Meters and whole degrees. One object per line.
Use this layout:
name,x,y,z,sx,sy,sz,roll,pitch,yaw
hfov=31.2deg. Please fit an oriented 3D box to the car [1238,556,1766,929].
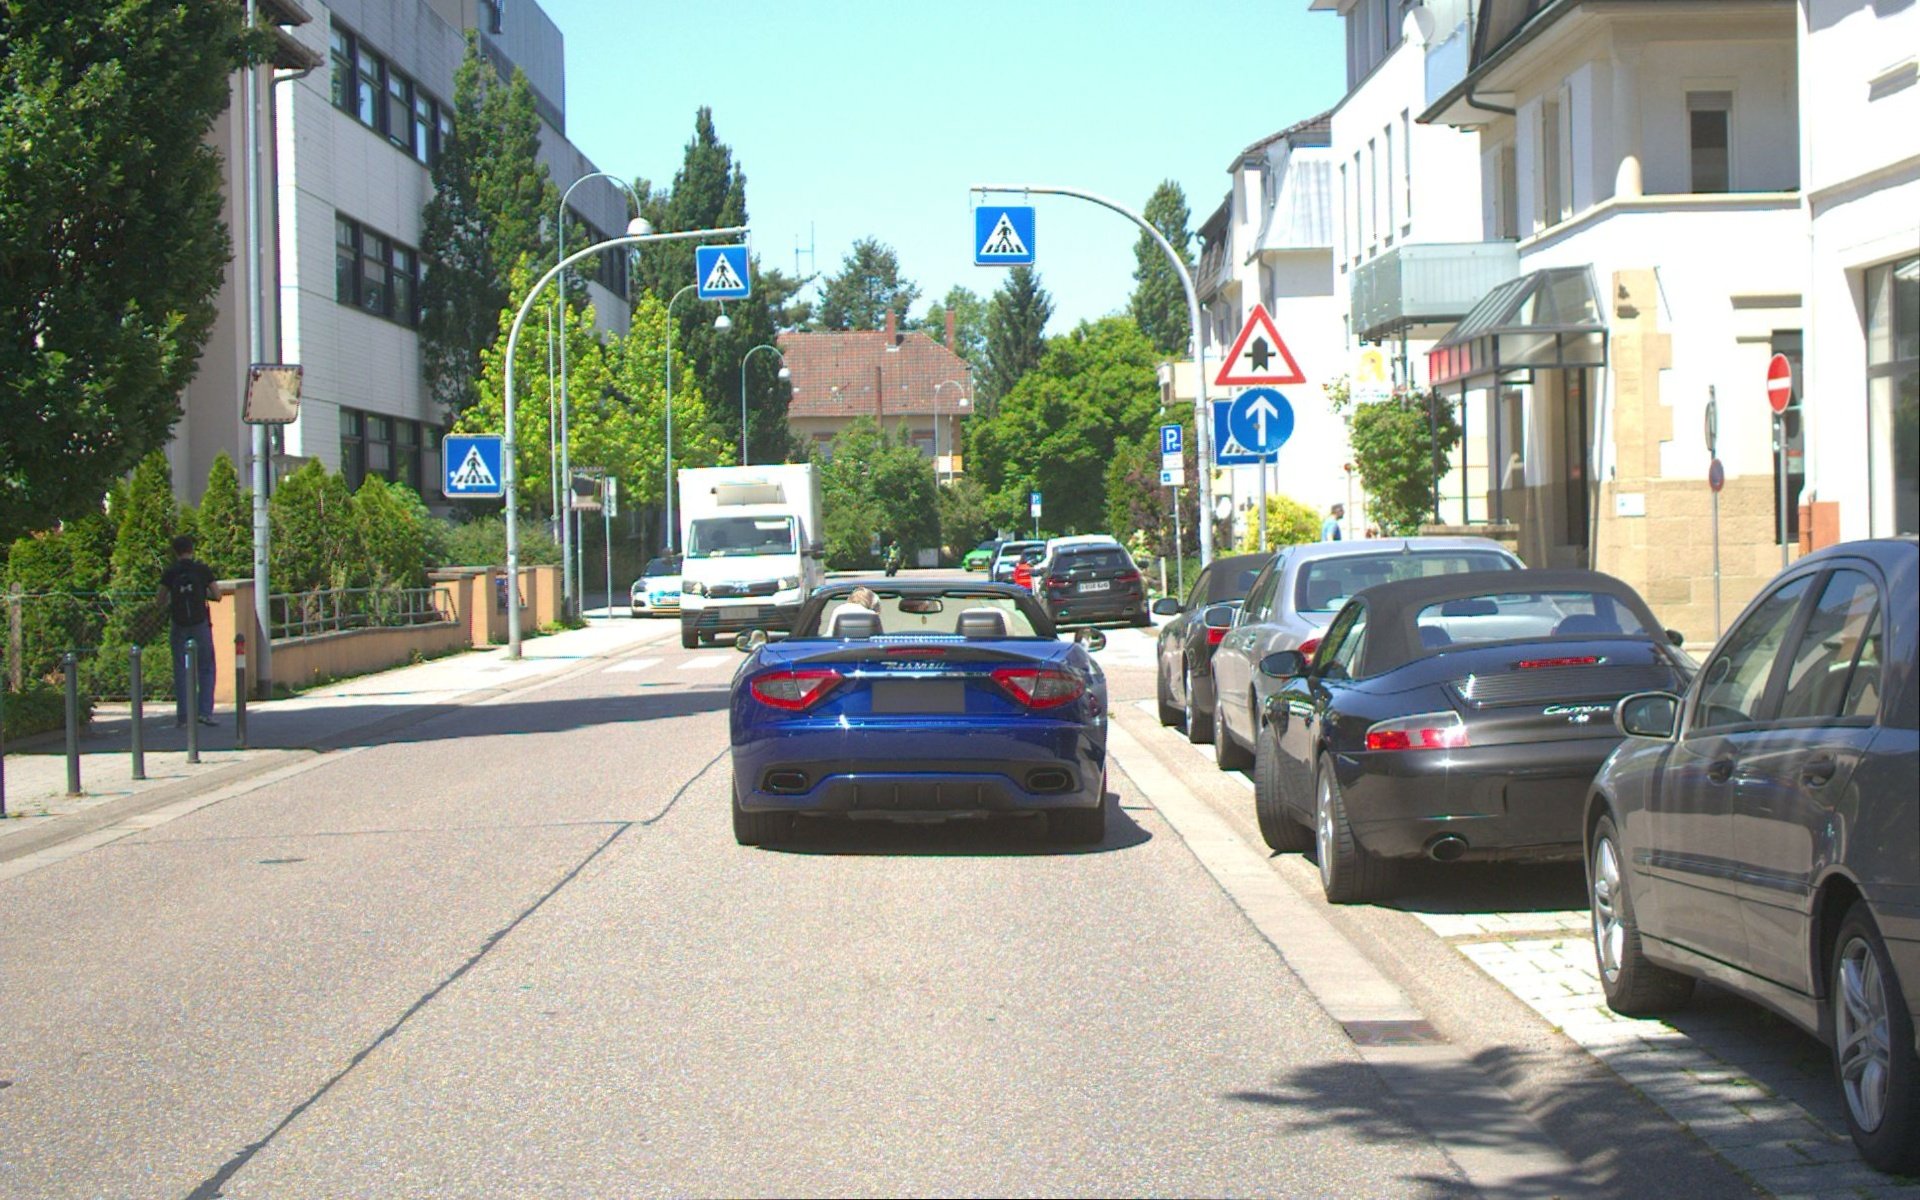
car,2.221,0.513,15.102,1.557,1.336,4.174,-2,1,-1

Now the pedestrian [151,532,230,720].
pedestrian,-6.966,0.226,31.133,0.536,1.679,0.708,-1,1,0

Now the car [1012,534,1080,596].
car,2.181,-0.917,87.929,1.603,1.436,3.853,-4,1,1

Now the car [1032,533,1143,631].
car,2.197,-0.350,60.183,1.705,1.551,4.748,-3,1,0

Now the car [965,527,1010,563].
car,1.308,-2.579,161.423,1.822,1.583,4.100,-3,0,4

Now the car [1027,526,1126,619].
car,2.210,-0.559,66.028,1.705,1.660,4.580,-2,1,0

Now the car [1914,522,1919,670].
car,2.489,0.627,3.095,1.829,1.506,4.760,-2,1,-1

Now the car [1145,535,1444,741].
car,2.531,0.236,27.038,1.826,1.422,4.700,-2,1,0

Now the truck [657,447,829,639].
truck,-3.553,-0.967,57.550,2.420,2.973,6.258,-2,1,0

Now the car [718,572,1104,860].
car,-0.244,0.530,18.675,1.826,1.332,4.700,0,1,0

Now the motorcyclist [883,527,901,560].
motorcyclist,-2.956,-2.451,149.472,0.699,1.428,0.707,-3,1,1

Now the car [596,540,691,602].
car,-7.400,-0.695,80.632,1.822,1.406,4.577,0,1,0

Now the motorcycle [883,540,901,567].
motorcycle,-2.950,-2.025,149.579,0.699,1.103,1.790,-3,1,1

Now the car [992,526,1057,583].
car,1.951,-1.409,104.797,1.843,1.614,4.427,-3,1,0

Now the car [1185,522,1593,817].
car,2.441,0.333,20.700,1.744,1.463,4.852,-3,1,0
